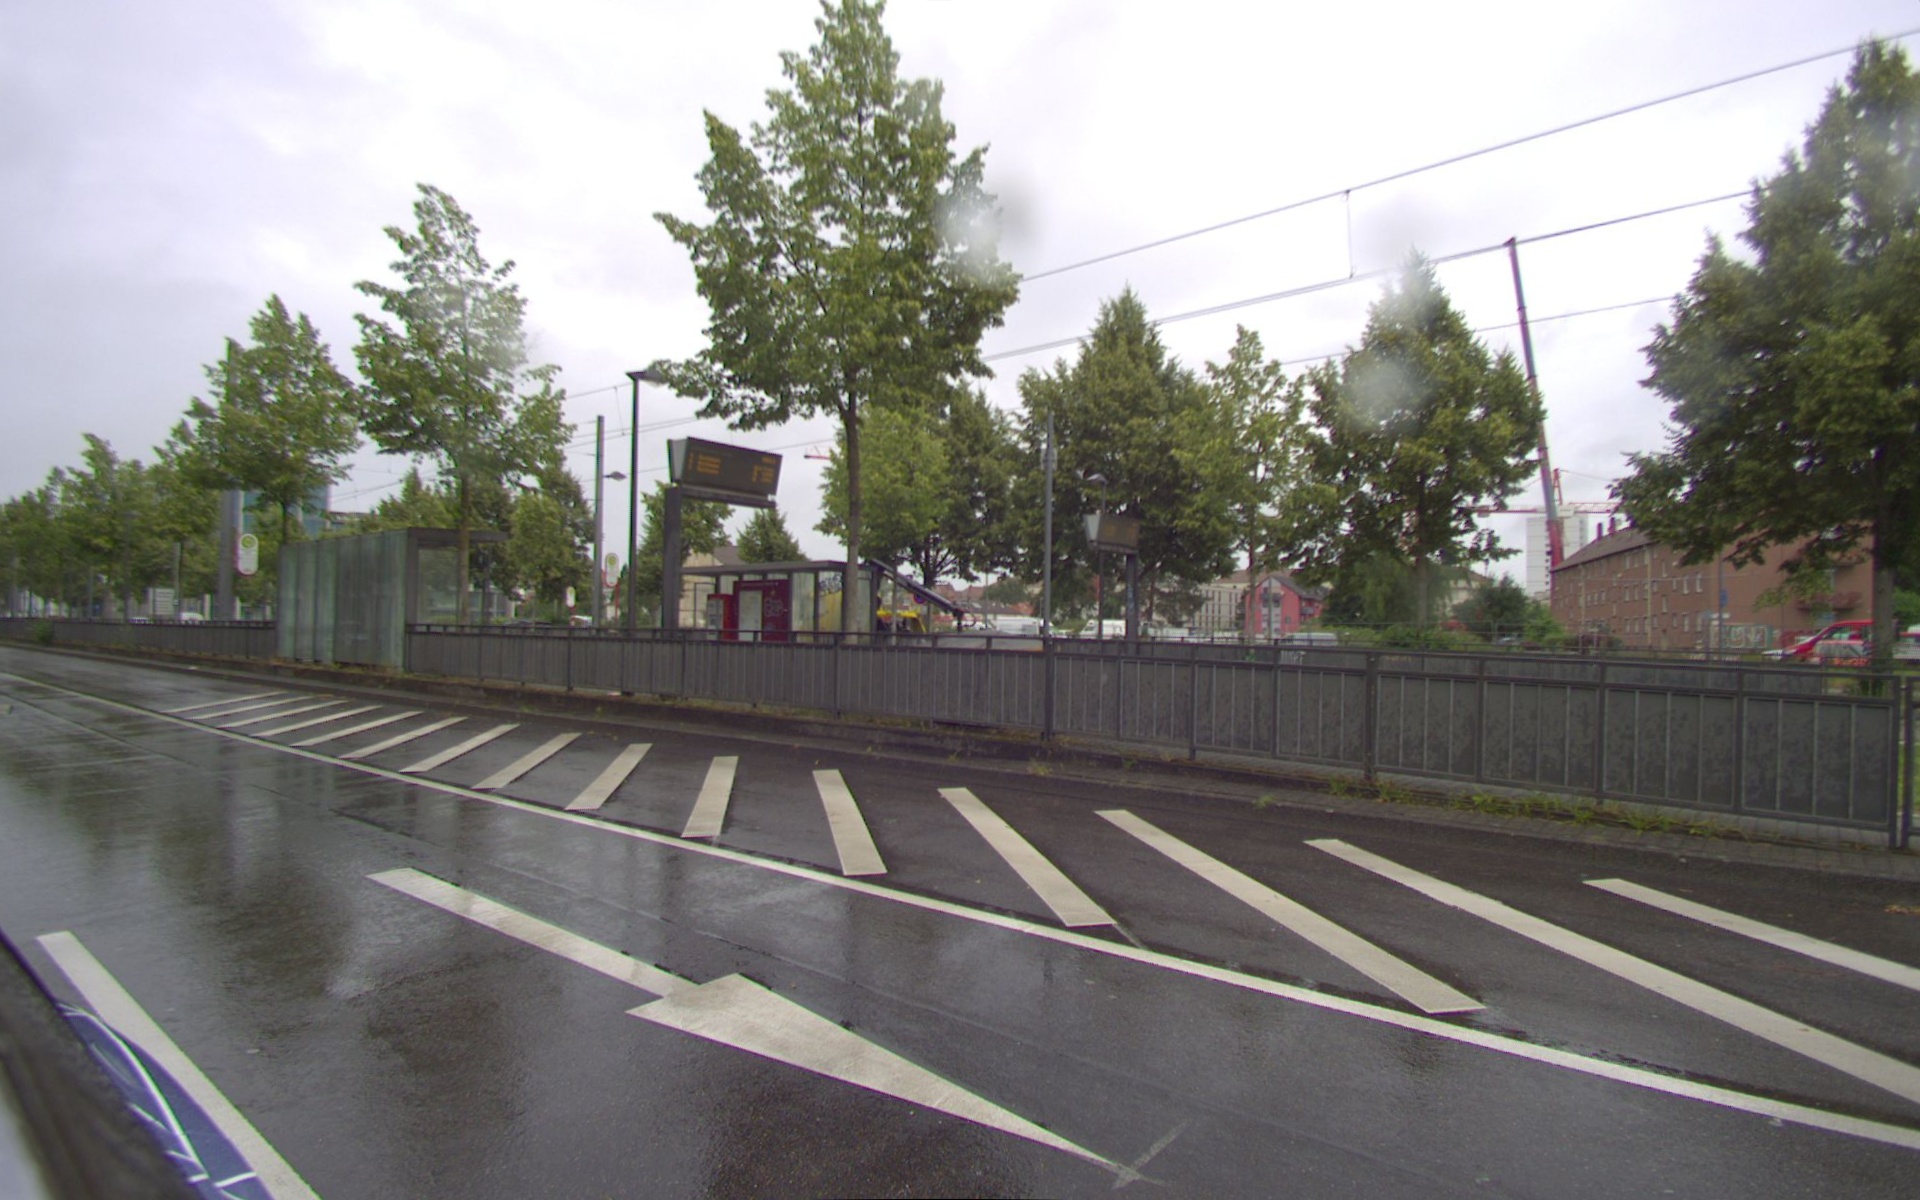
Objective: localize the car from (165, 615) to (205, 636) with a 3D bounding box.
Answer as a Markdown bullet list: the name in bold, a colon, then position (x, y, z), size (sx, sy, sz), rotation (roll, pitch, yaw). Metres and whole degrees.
- **car**: position (-71.912, 2.341, 93.894), size (3.995, 1.759, 1.974), rotation (0, 0, 38)

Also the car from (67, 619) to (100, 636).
- **car**: position (-96.221, 3.045, 111.079), size (3.995, 1.759, 1.974), rotation (0, 0, 38)

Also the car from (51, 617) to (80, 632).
- **car**: position (-109.815, 3.026, 124.188), size (3.995, 1.759, 1.974), rotation (0, 0, 38)

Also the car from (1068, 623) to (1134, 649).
- **car**: position (12.281, 3.104, 88.489), size (5.412, 2.067, 1.975), rotation (0, 0, 37)

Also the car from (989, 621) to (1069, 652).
- **car**: position (5.789, 3.025, 85.355), size (6.735, 2.480, 1.975), rotation (0, 0, 37)

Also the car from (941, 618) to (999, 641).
- **car**: position (1.016, 3.161, 108.036), size (6.123, 2.323, 1.978), rotation (0, 0, 32)

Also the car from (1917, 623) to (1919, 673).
- **car**: position (46.425, 2.123, 44.479), size (1.597, 2.296, 6.114), rotation (2, -3, -37)

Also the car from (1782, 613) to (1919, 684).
- **car**: position (33.907, 1.741, 36.391), size (1.597, 2.489, 6.500), rotation (2, -2, -39)

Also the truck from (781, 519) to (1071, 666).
- **truck**: position (-1.287, -0.190, 30.101), size (9.174, 3.806, 2.660), rotation (0, 0, 40)

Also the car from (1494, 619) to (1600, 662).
- **car**: position (36.068, 2.418, 62.249), size (5.482, 2.471, 1.976), rotation (0, 0, 36)

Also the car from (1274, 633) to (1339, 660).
- **car**: position (26.594, 3.567, 77.629), size (4.415, 1.891, 1.855), rotation (0, 0, 34)
